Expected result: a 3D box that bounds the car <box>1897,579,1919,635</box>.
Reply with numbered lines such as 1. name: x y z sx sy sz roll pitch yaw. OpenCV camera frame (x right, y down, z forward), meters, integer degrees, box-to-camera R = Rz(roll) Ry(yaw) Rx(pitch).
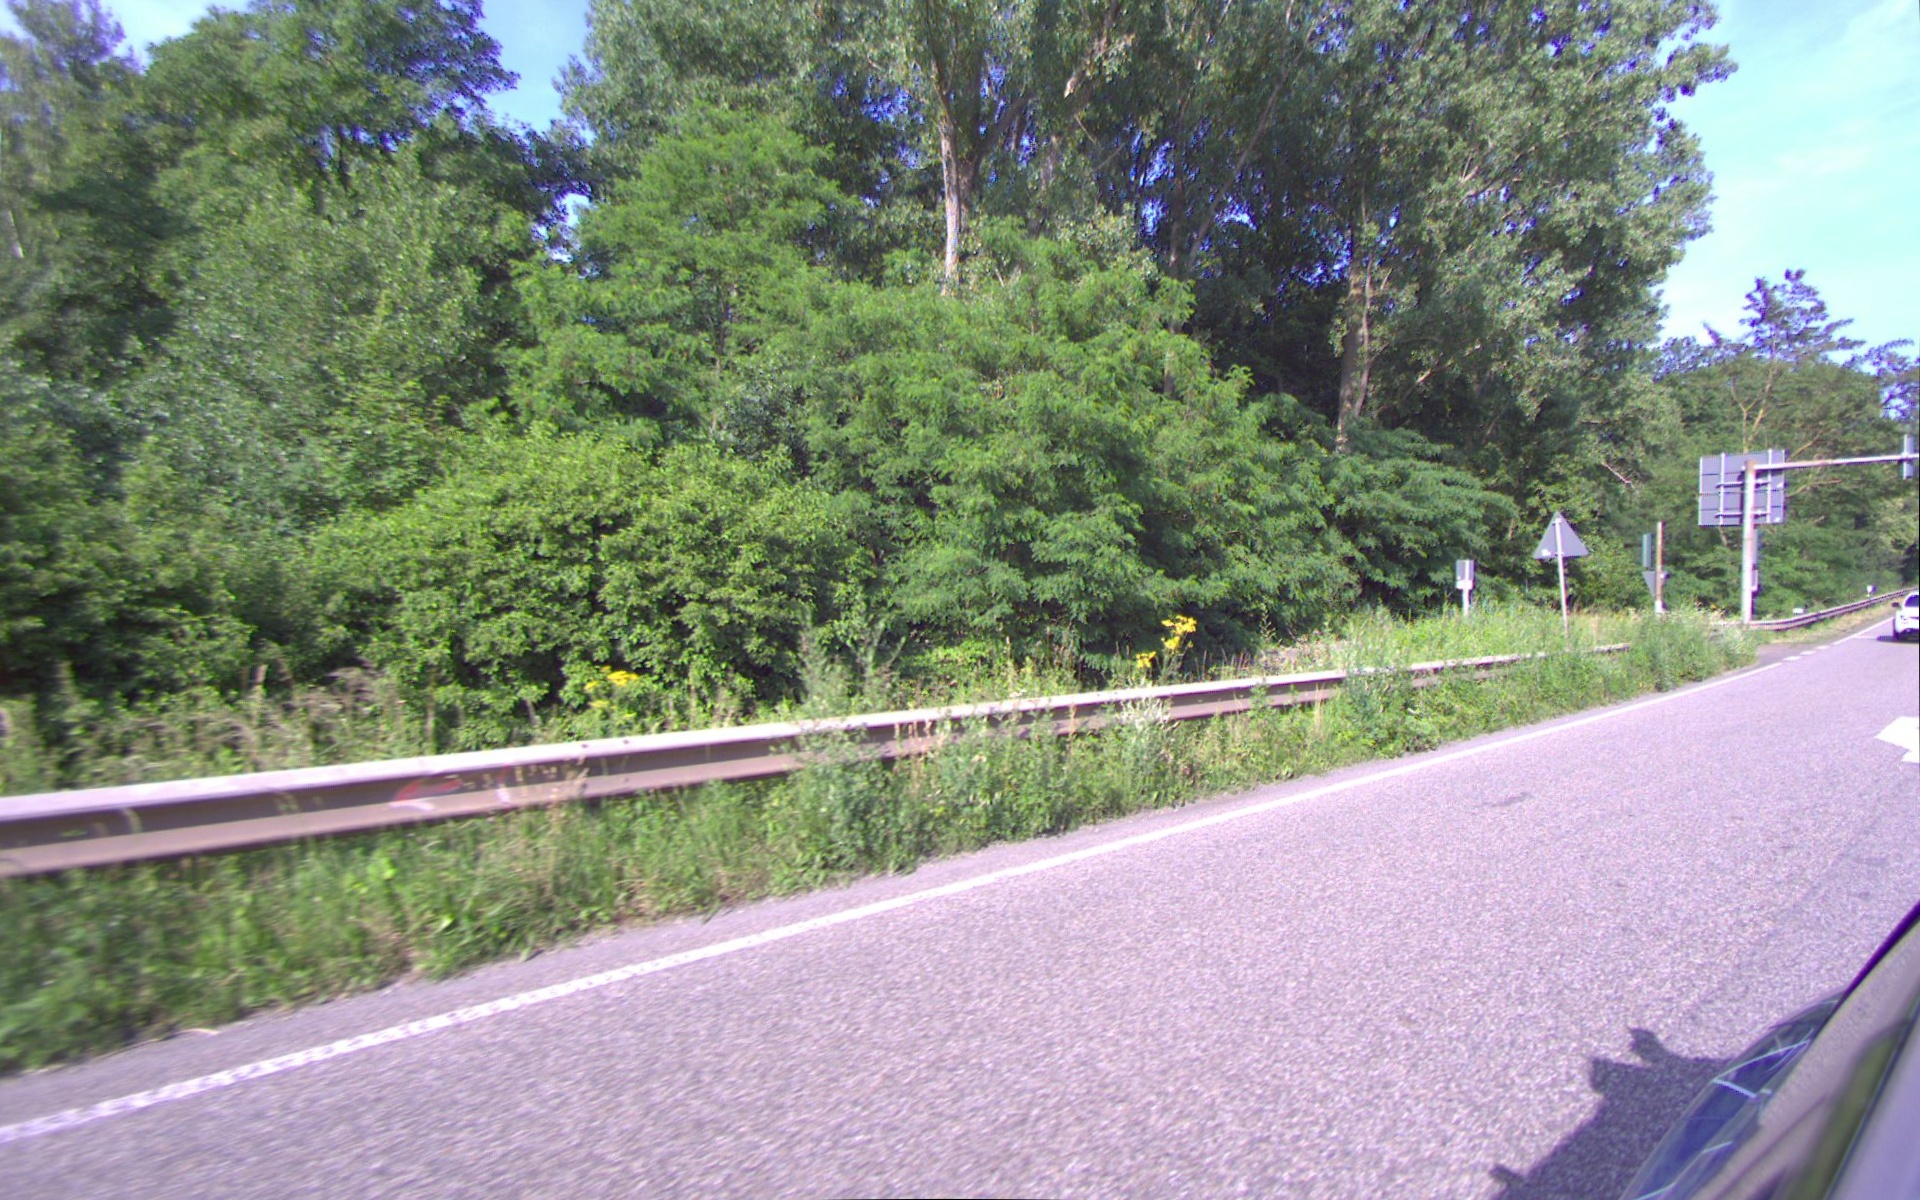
1. car: 30.785 0.197 31.547 4.751 1.655 1.873 -1 2 -42
